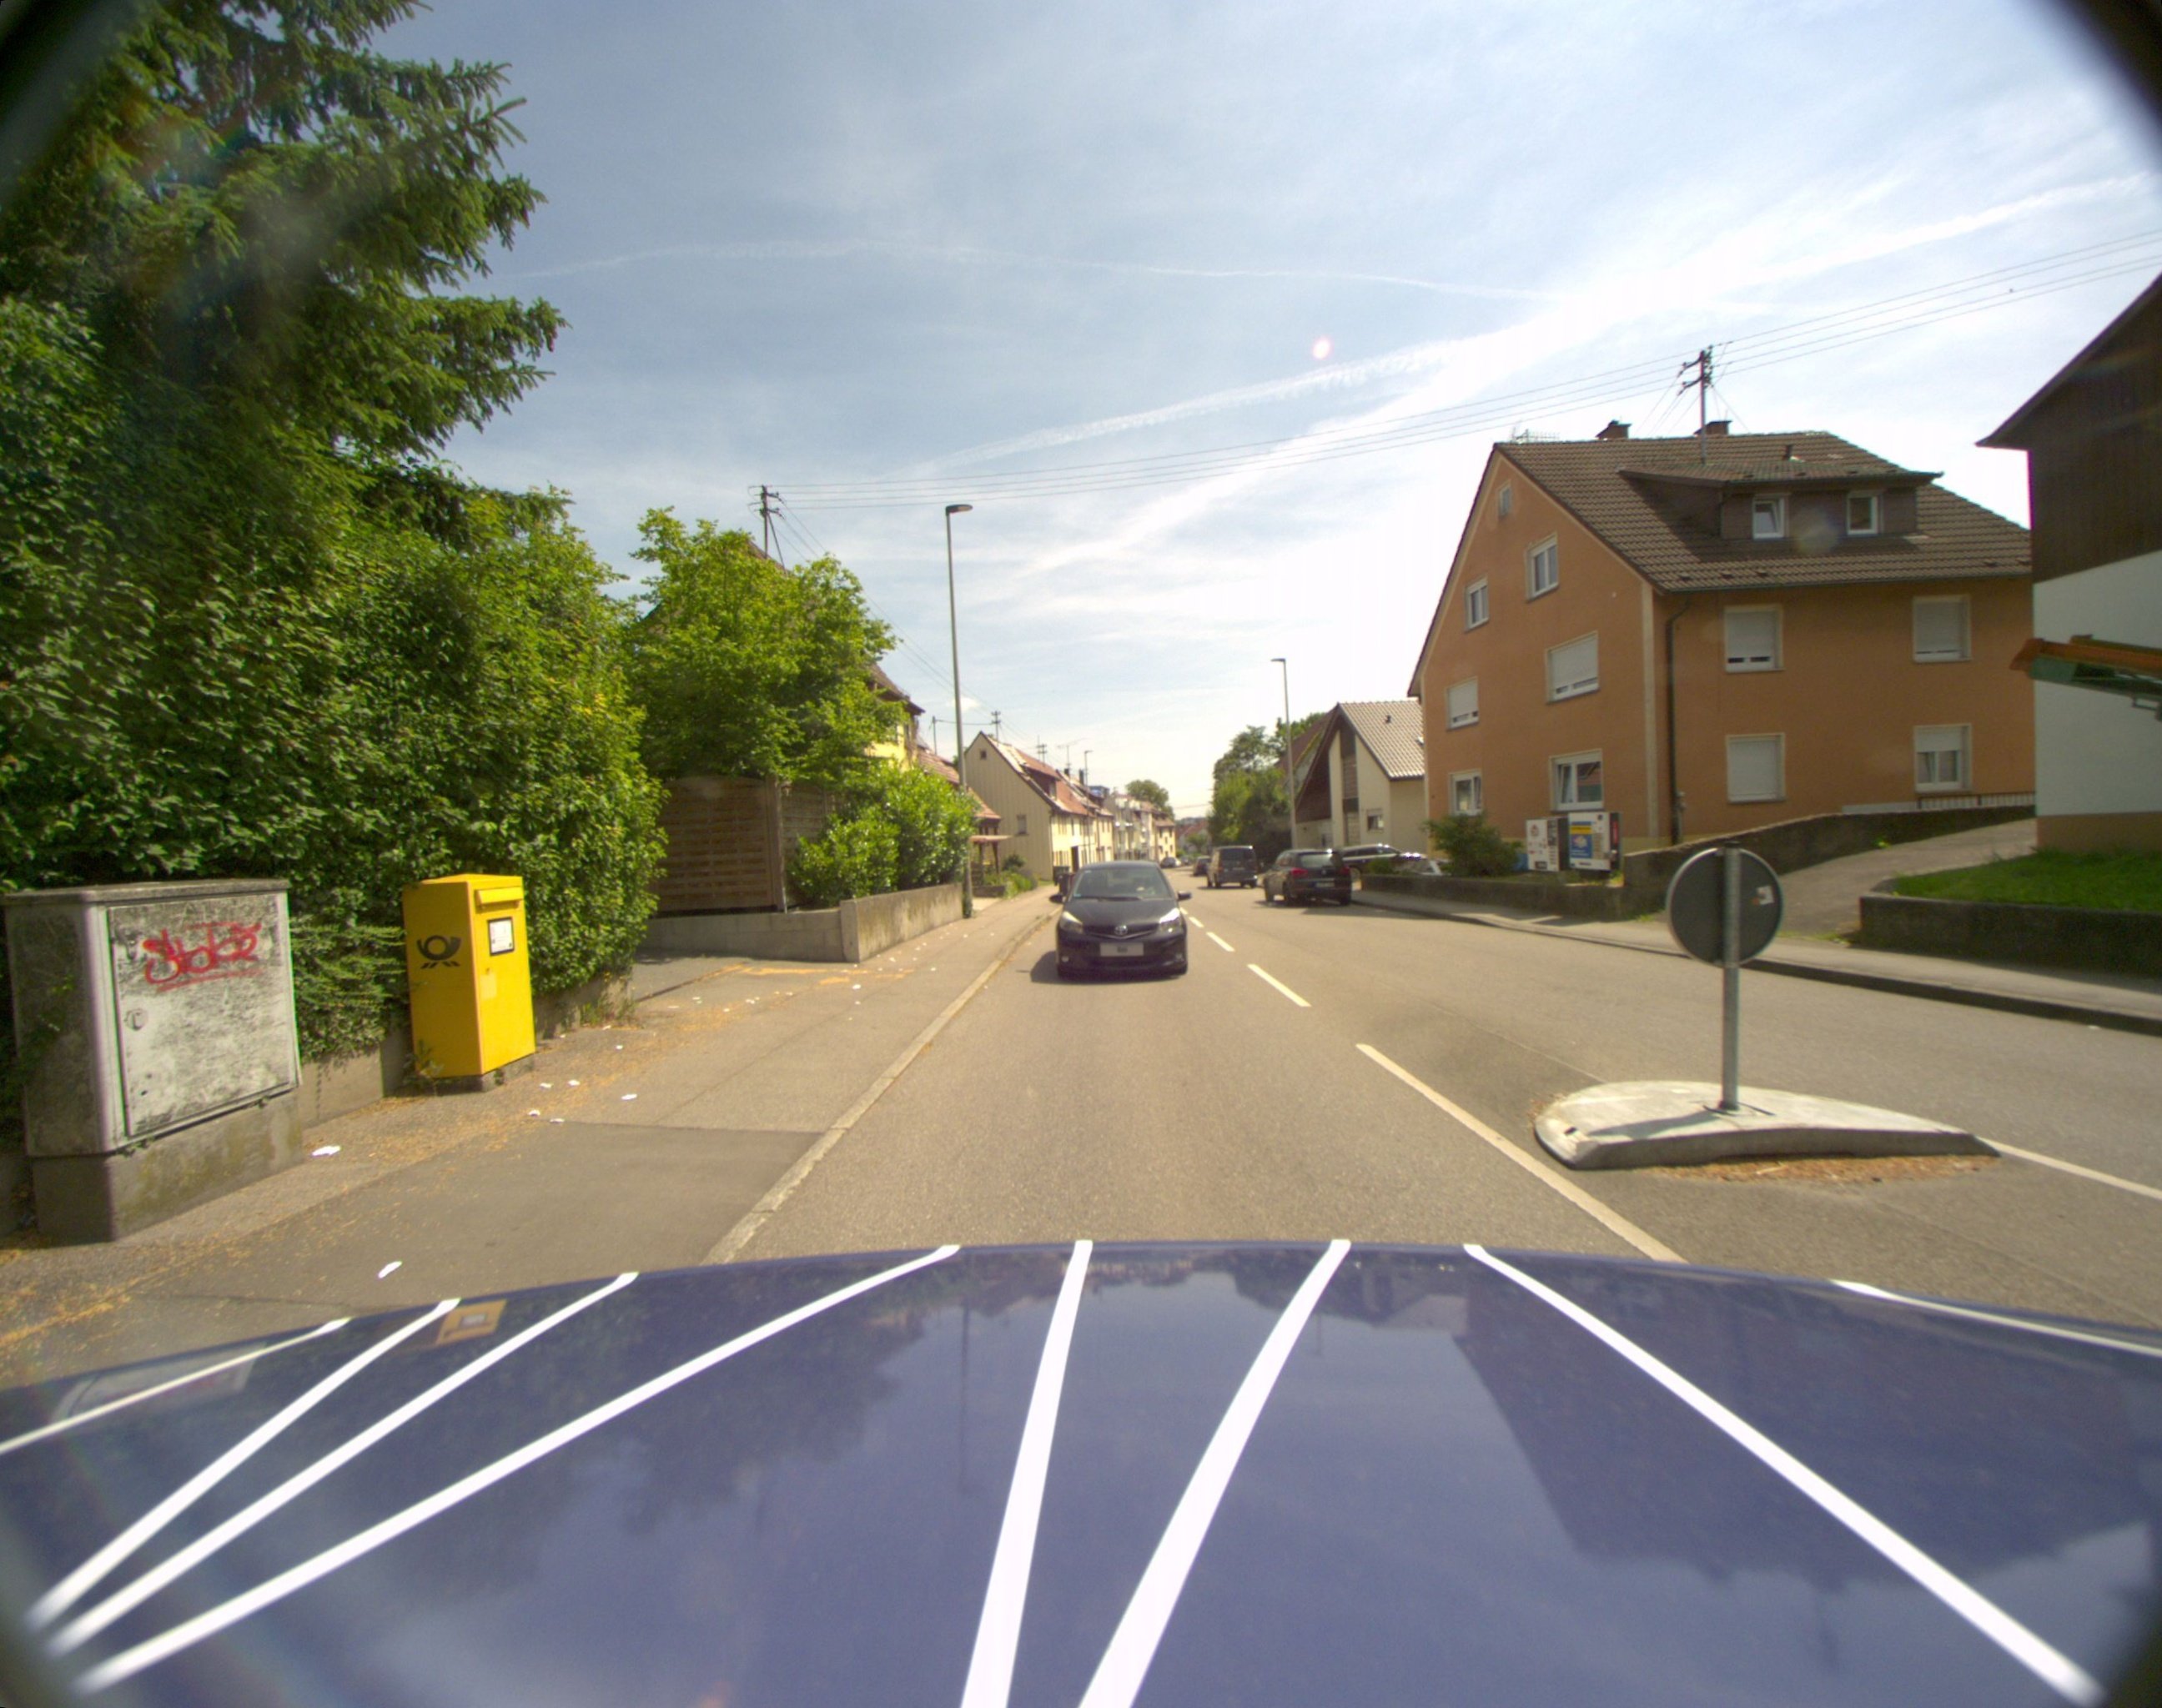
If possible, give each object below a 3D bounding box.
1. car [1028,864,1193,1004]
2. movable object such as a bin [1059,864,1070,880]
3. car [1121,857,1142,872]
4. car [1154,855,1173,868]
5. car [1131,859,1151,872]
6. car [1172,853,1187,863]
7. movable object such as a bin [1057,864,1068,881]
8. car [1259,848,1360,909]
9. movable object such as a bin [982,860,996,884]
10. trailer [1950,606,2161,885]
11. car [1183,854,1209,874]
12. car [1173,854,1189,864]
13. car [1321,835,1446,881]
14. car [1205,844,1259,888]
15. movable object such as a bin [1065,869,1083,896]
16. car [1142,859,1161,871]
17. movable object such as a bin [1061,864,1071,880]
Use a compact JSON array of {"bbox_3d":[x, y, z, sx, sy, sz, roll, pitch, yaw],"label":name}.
[{"bbox_3d":[0.637,0.928,10.602,1.724,1.448,4.433,-1,0,9],"label":"car"},{"bbox_3d":[-1.020,1.107,46.839,0.547,1.027,0.552,1,0,7],"label":"movable object such as a bin"},{"bbox_3d":[5.039,1.003,75.040,1.669,1.344,4.189,-2,0,8],"label":"car"},{"bbox_3d":[11.973,1.058,110.067,1.956,1.706,4.721,-2,0,14],"label":"car"},{"bbox_3d":[6.931,1.317,87.438,1.797,1.394,4.415,-1,0,11],"label":"car"},{"bbox_3d":[15.550,0.685,119.486,1.791,1.447,4.721,-2,0,14],"label":"car"},{"bbox_3d":[-1.114,1.094,45.923,0.547,1.027,0.552,1,0,7],"label":"movable object such as a bin"},{"bbox_3d":[6.667,0.670,22.675,1.773,1.626,4.288,-1,0,1],"label":"car"},{"bbox_3d":[-4.502,0.889,37.309,0.536,1.151,0.549,4,1,2],"label":"movable object such as a bin"},{"bbox_3d":[11.887,-1.142,6.518,1.716,2.832,6.174,-3,0,0],"label":"trailer"},{"bbox_3d":[8.807,0.740,58.424,1.822,1.464,4.778,-2,0,7],"label":"car"},{"bbox_3d":[16.596,0.831,126.020,1.791,1.412,4.363,-2,0,17],"label":"car"},{"bbox_3d":[12.266,0.168,30.995,4.240,1.397,1.821,-6,0,-1],"label":"car"},{"bbox_3d":[7.197,0.518,36.658,1.895,1.926,4.987,-1,0,4],"label":"car"},{"bbox_3d":[-0.269,1.100,29.779,0.494,1.027,0.549,2,1,27],"label":"movable object such as a bin"},{"bbox_3d":[9.120,1.375,97.964,1.800,1.416,4.294,-1,1,12],"label":"car"},{"bbox_3d":[-0.934,1.114,47.428,0.547,1.027,0.552,1,0,7],"label":"movable object such as a bin"}]
